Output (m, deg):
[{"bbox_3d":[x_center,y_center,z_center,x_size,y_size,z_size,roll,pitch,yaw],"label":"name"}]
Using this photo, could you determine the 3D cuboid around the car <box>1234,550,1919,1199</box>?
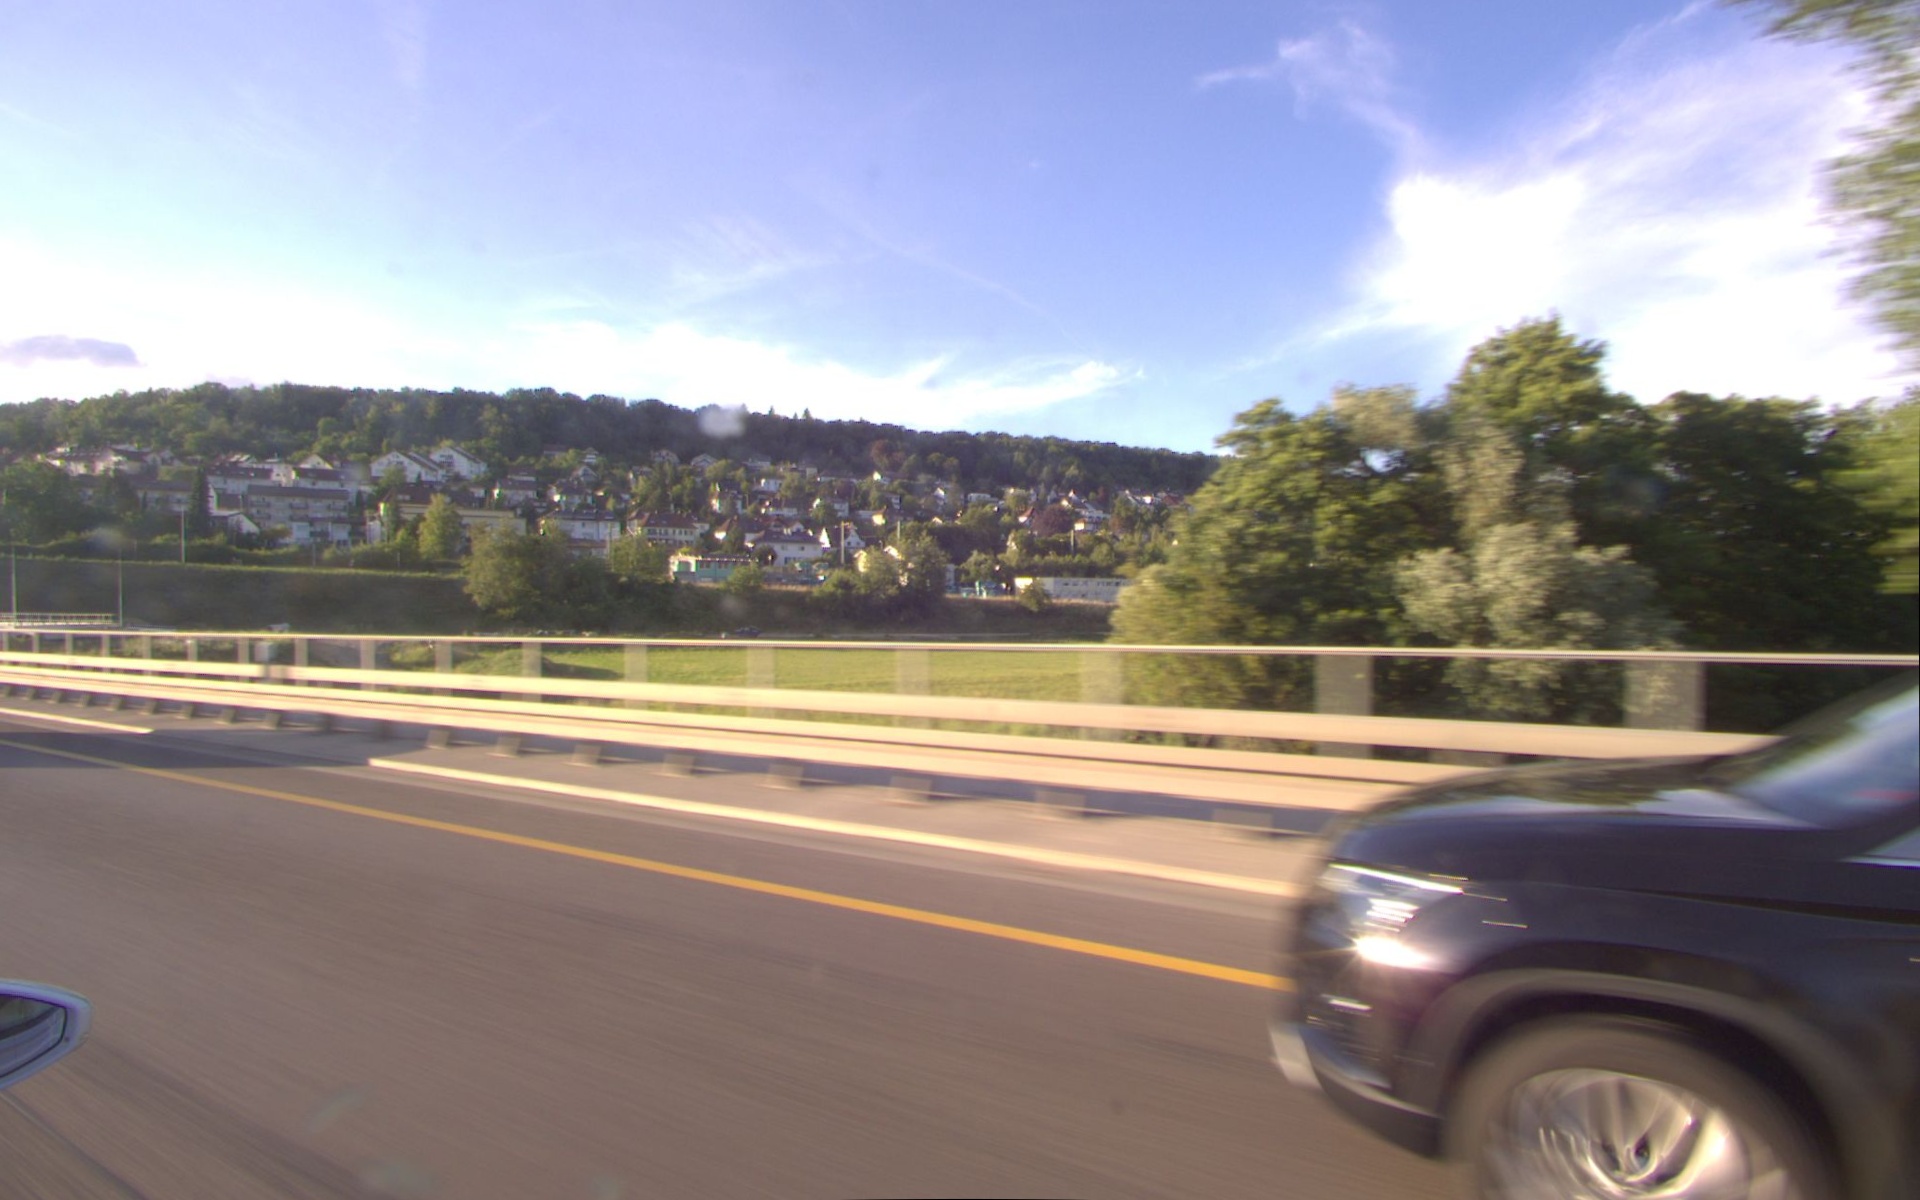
[{"bbox_3d":[3.215,0.731,1.897,4.894,1.620,1.872,0,-1,32],"label":"car"}]
